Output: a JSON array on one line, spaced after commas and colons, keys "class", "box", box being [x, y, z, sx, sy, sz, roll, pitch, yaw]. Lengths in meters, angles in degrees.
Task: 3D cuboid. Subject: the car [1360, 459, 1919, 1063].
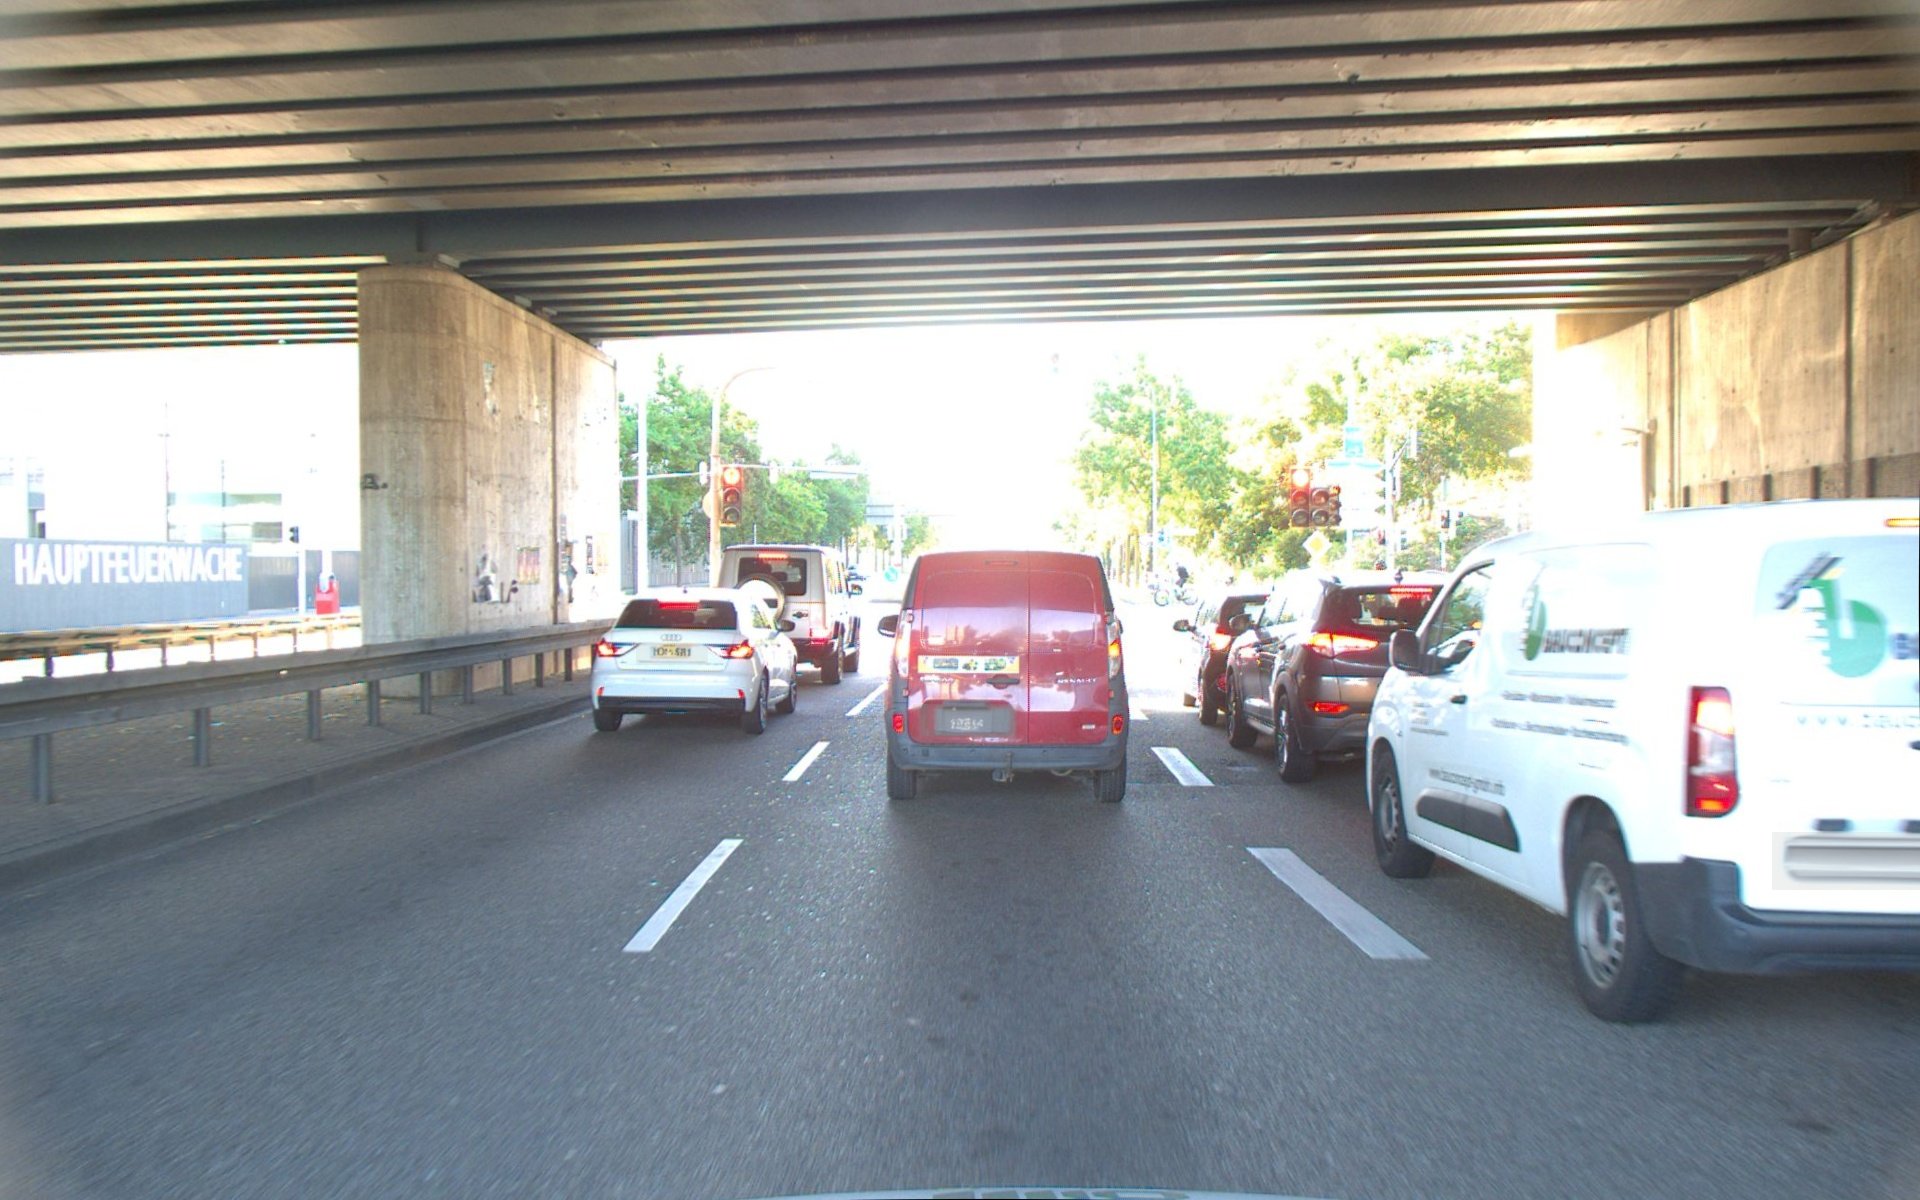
[{"class": "car", "box": [3.205, 0.508, 7.297, 1.776, 1.865, 4.299, 1, 0, -1]}]

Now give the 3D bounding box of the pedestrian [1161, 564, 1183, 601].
[{"class": "pedestrian", "box": [8.949, -0.745, 69.883, 0.820, 1.581, 0.556, 0, 0, -6]}]

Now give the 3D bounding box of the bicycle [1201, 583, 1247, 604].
[{"class": "bicycle", "box": [11.251, -0.264, 70.485, 1.911, 0.889, 0.700, 0, 0, 5]}]

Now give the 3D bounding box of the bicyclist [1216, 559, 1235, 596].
[{"class": "bicyclist", "box": [11.304, -0.958, 70.481, 0.739, 1.569, 0.697, 0, 0, 5]}]

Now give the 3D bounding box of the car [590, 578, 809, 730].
[{"class": "car", "box": [-2.685, 0.509, 17.831, 1.657, 1.435, 3.814, 1, 0, 1]}]

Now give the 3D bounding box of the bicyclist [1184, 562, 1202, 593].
[{"class": "bicyclist", "box": [10.159, -0.985, 72.171, 0.639, 1.352, 0.602, 1, 0, -2]}]

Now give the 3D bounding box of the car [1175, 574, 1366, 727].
[{"class": "car", "box": [3.547, 0.506, 19.511, 1.618, 1.579, 3.865, 1, 1, 2]}]

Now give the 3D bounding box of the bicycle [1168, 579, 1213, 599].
[{"class": "bicycle", "box": [10.059, -0.474, 72.140, 1.874, 0.882, 0.605, 0, 0, -2]}]

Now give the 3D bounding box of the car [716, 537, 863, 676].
[{"class": "car", "box": [-2.506, 0.082, 25.180, 1.776, 1.937, 3.813, 1, 0, 1]}]

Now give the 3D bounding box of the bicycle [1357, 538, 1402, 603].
[{"class": "bicycle", "box": [7.051, -0.485, 27.868, 0.662, 1.042, 1.530, 1, 0, 12]}]

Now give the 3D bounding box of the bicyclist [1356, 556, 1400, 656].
[{"class": "bicyclist", "box": [7.041, 0.097, 27.882, 0.663, 1.657, 0.644, 1, 0, 12]}]

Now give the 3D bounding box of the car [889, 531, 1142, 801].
[{"class": "car", "box": [0.424, 0.434, 13.165, 1.683, 1.795, 4.001, 1, 0, 1]}]

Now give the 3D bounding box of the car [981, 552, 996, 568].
[{"class": "car", "box": [3.913, -5.498, 227.186, 1.952, 2.049, 4.001, 1, 0, 1]}]

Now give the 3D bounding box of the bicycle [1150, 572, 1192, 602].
[{"class": "bicycle", "box": [8.919, -0.532, 69.881, 1.695, 1.255, 0.557, 0, -1, -5]}]

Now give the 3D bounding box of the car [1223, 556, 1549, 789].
[{"class": "car", "box": [3.461, 0.515, 14.205, 1.741, 1.684, 3.990, 1, 1, 0]}]
